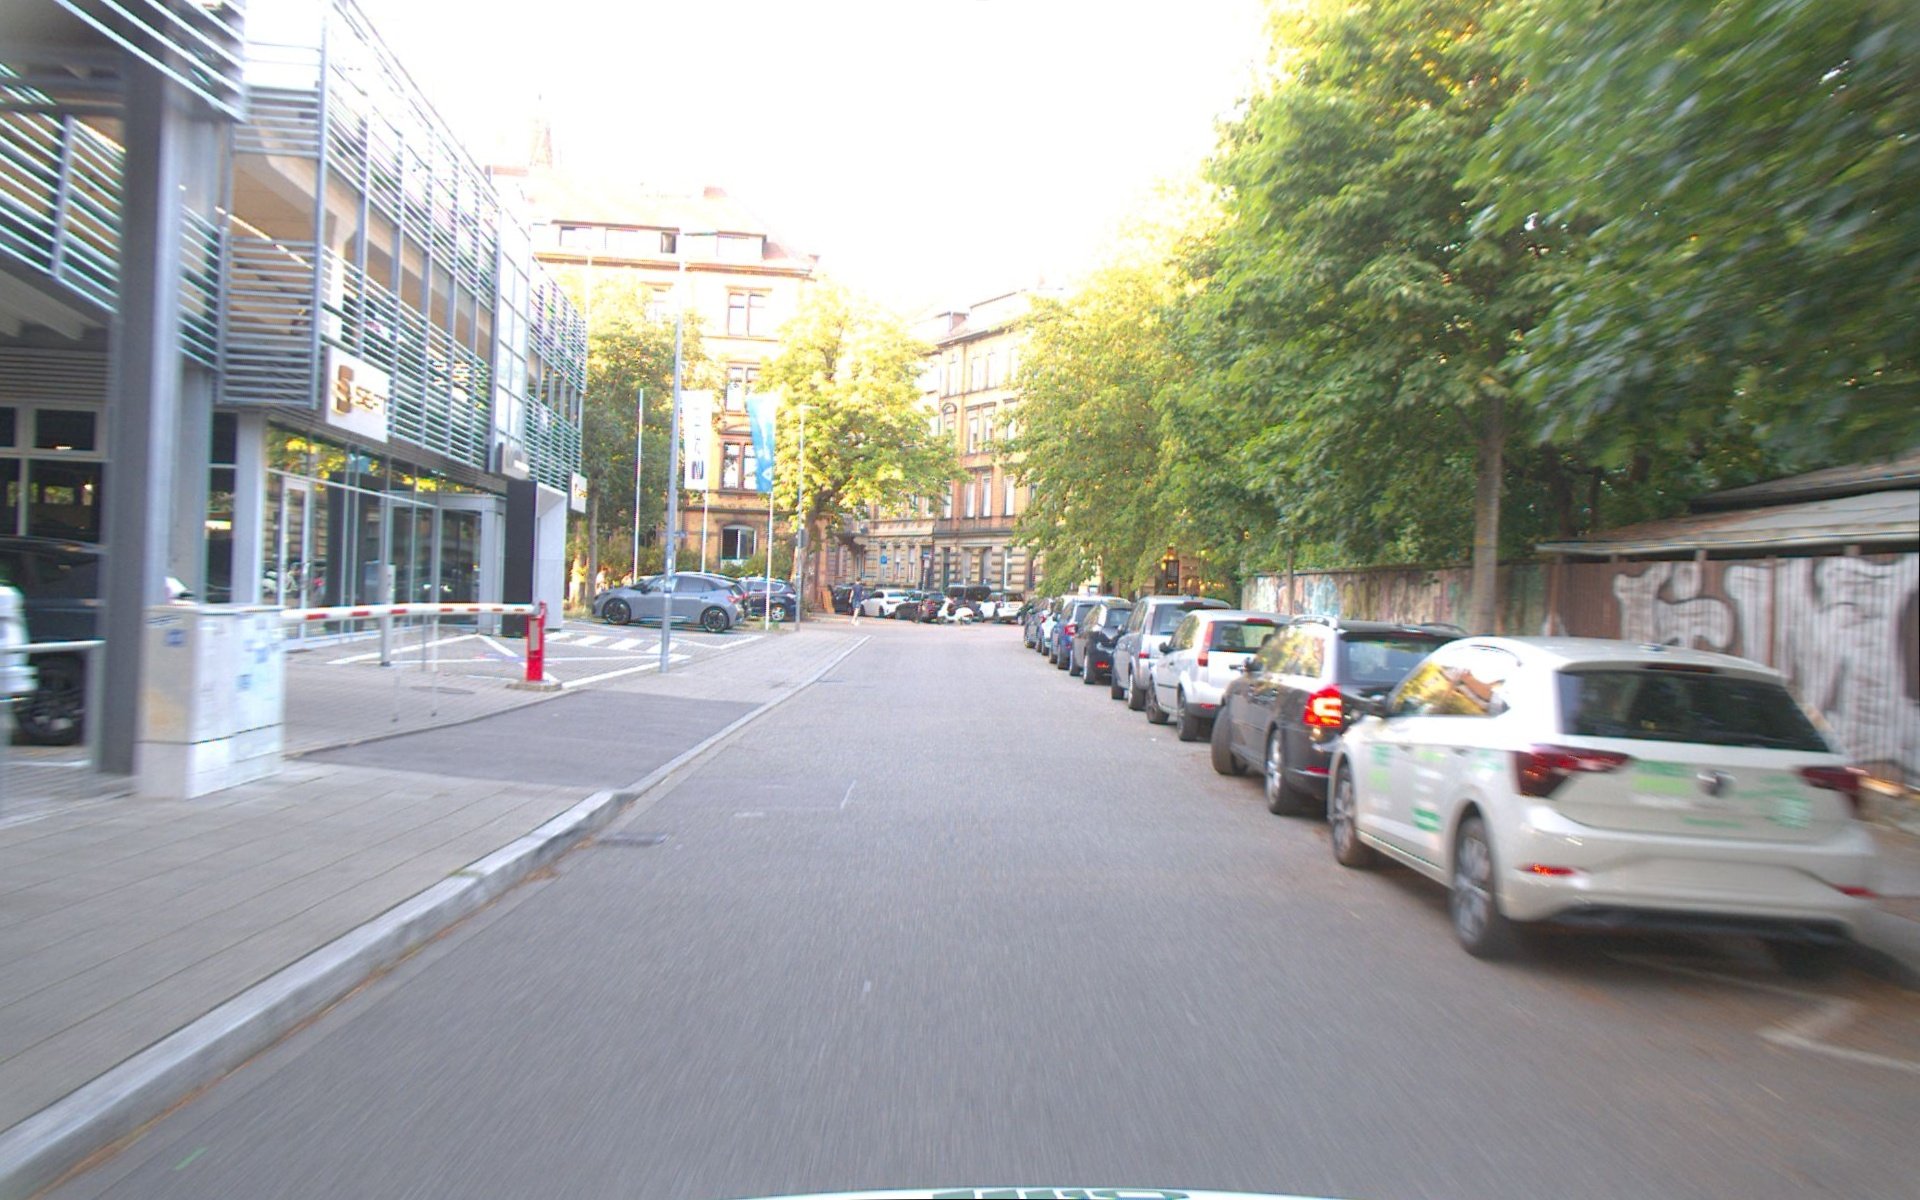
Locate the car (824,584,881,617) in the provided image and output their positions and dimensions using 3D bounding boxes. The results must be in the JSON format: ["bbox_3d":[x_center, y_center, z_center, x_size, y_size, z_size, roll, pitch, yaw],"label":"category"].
[{"bbox_3d":[-5.605,0.005,85.999,1.633,1.455,3.867,2,2,-24],"label":"car"}]

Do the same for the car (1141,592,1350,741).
[{"bbox_3d":[3.278,0.704,19.686,1.723,1.466,3.873,2,1,-1],"label":"car"}]

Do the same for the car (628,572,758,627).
[{"bbox_3d":[-8.698,-0.028,54.235,3.967,1.500,1.919,4,1,-5],"label":"car"}]

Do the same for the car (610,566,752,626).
[{"bbox_3d":[-8.380,-0.133,49.918,3.986,1.646,1.764,2,1,-3],"label":"car"}]

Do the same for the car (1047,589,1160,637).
[{"bbox_3d":[5.026,0.459,57.511,1.849,1.492,3.946,4,1,42],"label":"car"}]

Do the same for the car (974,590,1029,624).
[{"bbox_3d":[2.064,0.337,82.227,1.653,1.552,2.746,3,1,-25],"label":"car"}]

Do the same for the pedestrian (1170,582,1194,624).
[{"bbox_3d":[10.021,0.138,74.782,0.760,1.835,0.840,2,1,-15],"label":"pedestrian"}]

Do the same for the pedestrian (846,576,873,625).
[{"bbox_3d":[-3.871,0.015,63.661,0.724,1.835,1.115,2,1,-21],"label":"pedestrian"}]

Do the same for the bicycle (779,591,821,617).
[{"bbox_3d":[-6.627,0.168,68.376,1.650,1.046,0.442,1,1,-25],"label":"bicycle"}]

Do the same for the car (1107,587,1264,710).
[{"bbox_3d":[3.275,0.655,24.694,1.723,1.632,3.873,2,0,-1],"label":"car"}]

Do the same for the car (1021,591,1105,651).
[{"bbox_3d":[2.800,0.551,45.635,1.662,1.502,4.208,2,0,-5],"label":"car"}]

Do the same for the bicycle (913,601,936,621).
[{"bbox_3d":[-1.539,0.469,71.767,0.416,0.836,1.462,2,1,21],"label":"bicycle"}]

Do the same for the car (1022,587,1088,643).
[{"bbox_3d":[2.876,0.435,50.670,1.661,1.598,3.970,2,0,-1],"label":"car"}]

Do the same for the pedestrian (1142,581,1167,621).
[{"bbox_3d":[9.038,0.051,76.873,0.828,1.835,0.771,2,1,-21],"label":"pedestrian"}]

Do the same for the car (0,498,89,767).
[{"bbox_3d":[-8.102,0.135,10.610,3.996,1.713,1.860,2,1,0],"label":"car"}]

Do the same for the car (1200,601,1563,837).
[{"bbox_3d":[3.172,0.808,13.386,1.723,1.480,4.392,2,1,-1],"label":"car"}]

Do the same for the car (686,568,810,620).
[{"bbox_3d":[-8.387,-0.238,65.718,4.737,1.762,1.918,3,1,-7],"label":"car"}]

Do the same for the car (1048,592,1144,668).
[{"bbox_3d":[2.929,0.611,36.300,1.660,1.502,4.116,2,0,-1],"label":"car"}]

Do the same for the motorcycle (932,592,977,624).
[{"bbox_3d":[-0.231,0.357,73.900,1.897,1.364,0.576,2,1,-11],"label":"motorcycle"}]

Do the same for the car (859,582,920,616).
[{"bbox_3d":[-3.519,-0.054,81.602,1.632,1.455,4.139,2,2,-22],"label":"car"}]

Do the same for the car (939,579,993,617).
[{"bbox_3d":[0.293,-0.118,85.733,1.653,1.813,2.992,2,1,-25],"label":"car"}]

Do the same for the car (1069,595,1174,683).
[{"bbox_3d":[3.032,0.701,31.711,1.564,1.502,3.773,2,0,-1],"label":"car"}]

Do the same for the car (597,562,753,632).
[{"bbox_3d":[-8.010,-0.105,46.818,4.047,1.645,1.912,4,1,-3],"label":"car"}]

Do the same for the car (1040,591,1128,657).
[{"bbox_3d":[3.048,0.571,41.232,1.662,1.502,3.557,2,0,-4],"label":"car"}]

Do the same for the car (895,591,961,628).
[{"bbox_3d":[-1.535,0.413,77.187,1.633,1.455,3.961,2,2,-24],"label":"car"}]

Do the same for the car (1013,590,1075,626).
[{"bbox_3d":[3.984,0.351,78.795,1.653,1.552,3.219,1,1,-25],"label":"car"}]

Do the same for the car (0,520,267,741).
[{"bbox_3d":[-7.922,0.198,13.241,3.907,1.613,1.859,2,-1,-3],"label":"car"}]

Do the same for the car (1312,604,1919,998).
[{"bbox_3d":[3.213,0.842,8.838,1.723,1.467,4.005,2,1,-1],"label":"car"}]

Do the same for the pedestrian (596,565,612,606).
[{"bbox_3d":[-14.602,-0.595,67.845,0.532,1.663,0.448,2,1,-5],"label":"pedestrian"}]
